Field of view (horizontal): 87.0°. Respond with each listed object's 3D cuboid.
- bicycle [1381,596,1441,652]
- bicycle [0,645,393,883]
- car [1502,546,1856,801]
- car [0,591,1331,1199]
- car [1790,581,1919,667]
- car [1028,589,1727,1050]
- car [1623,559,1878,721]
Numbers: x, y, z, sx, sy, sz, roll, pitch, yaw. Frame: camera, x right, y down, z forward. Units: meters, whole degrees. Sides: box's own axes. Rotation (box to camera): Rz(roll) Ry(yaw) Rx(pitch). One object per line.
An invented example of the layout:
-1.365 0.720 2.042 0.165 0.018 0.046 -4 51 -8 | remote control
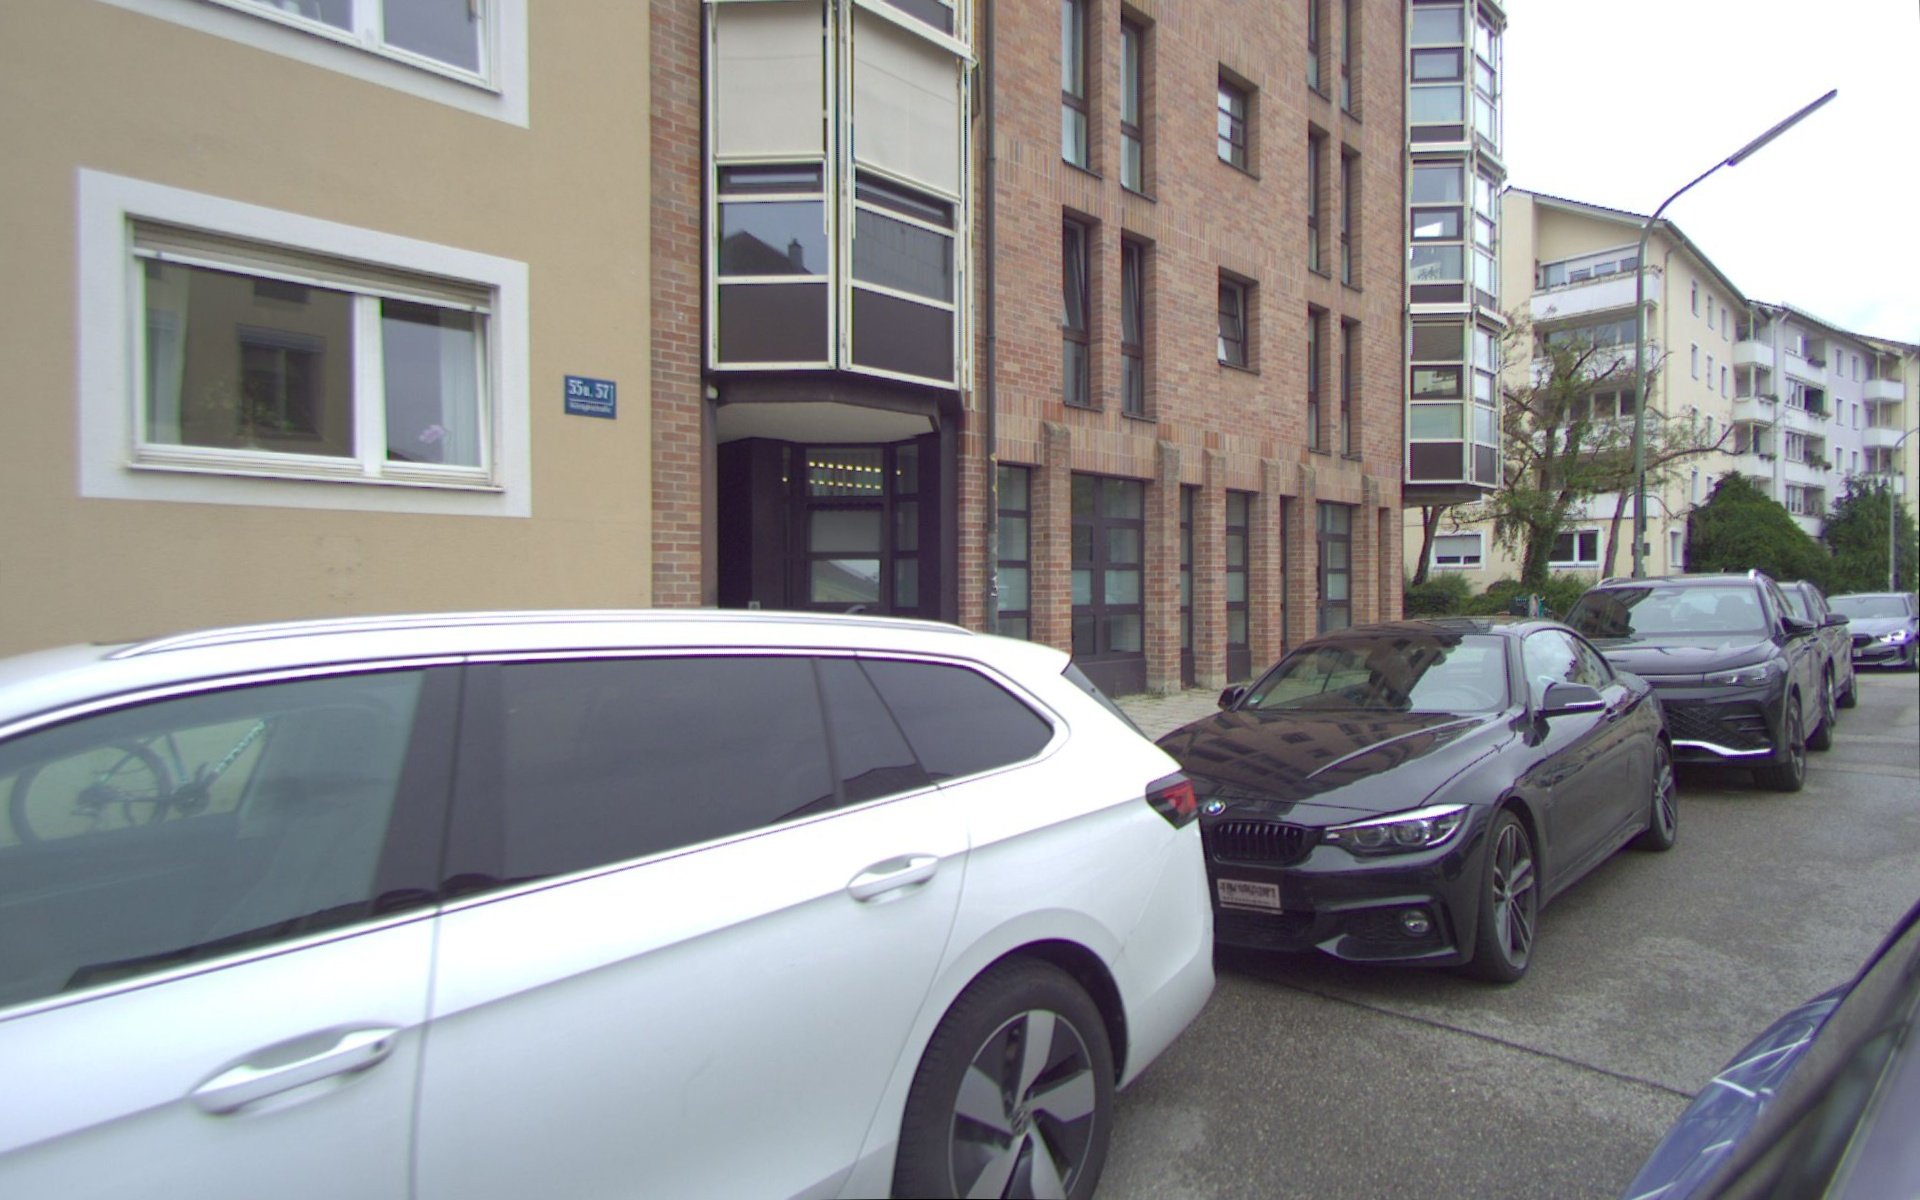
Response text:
9.025 0.464 20.234 1.492 1.069 0.535 -1 1 -42 | bicycle
-4.246 0.833 5.713 1.722 1.046 0.677 -1 1 -41 | bicycle
6.522 0.461 8.939 1.877 1.667 4.571 -2 0 44 | car
-1.365 0.717 1.932 4.930 1.432 1.856 -1 0 -43 | car
17.563 0.407 19.243 4.256 1.455 1.881 -1 -2 -39 | car
2.610 0.727 5.486 4.704 1.383 1.757 -2 -3 -45 | car
9.727 0.356 12.311 4.434 1.611 1.878 -1 1 -44 | car
